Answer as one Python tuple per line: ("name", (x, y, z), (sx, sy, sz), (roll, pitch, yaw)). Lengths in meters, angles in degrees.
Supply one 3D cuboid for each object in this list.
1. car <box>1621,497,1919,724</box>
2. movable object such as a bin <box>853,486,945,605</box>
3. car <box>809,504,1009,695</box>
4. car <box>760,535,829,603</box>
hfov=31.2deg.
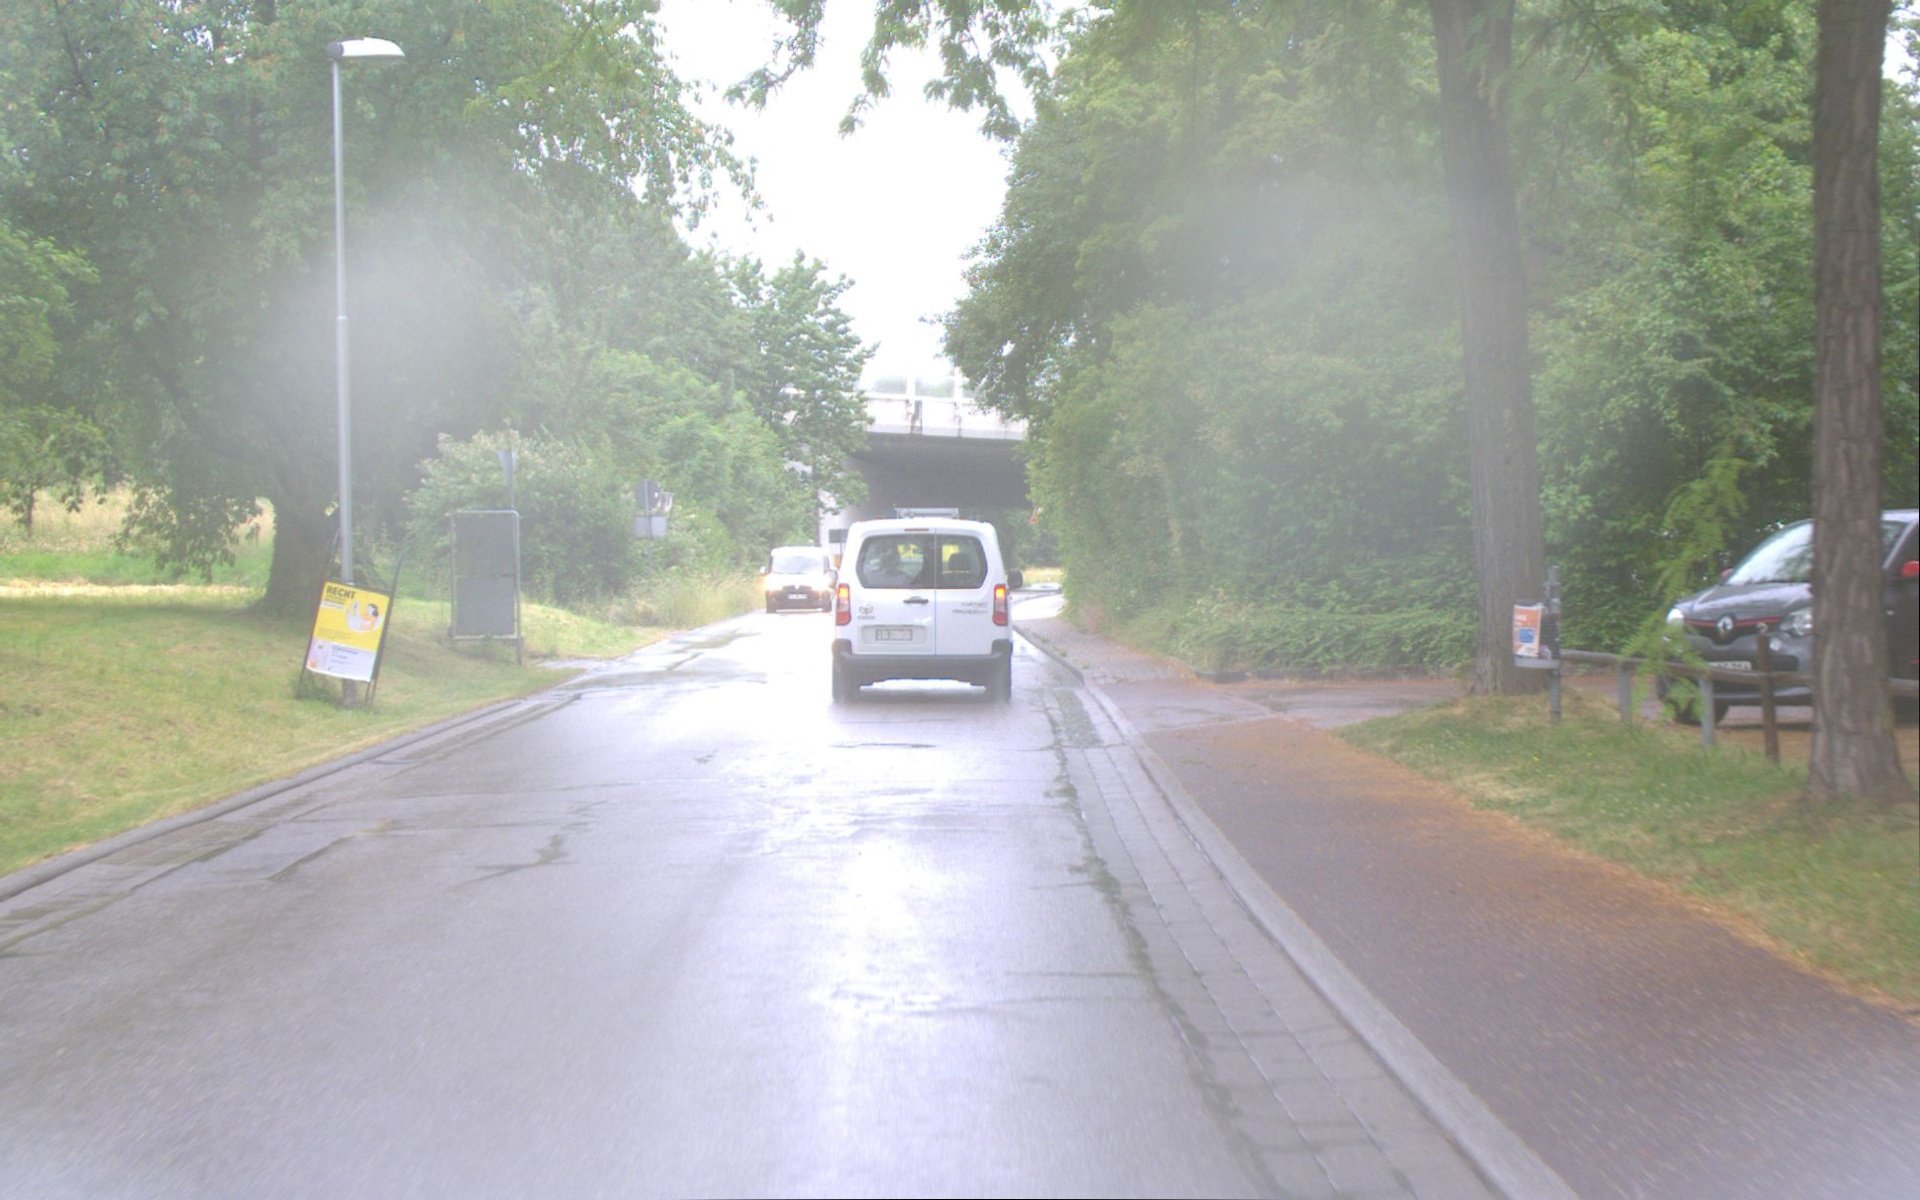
("car", (6.694, 0.046, 25.118), (3.602, 1.546, 1.621), (-1, 0, -36))
("movable object such as a bin", (-1.312, -1.191, 75.727), (1.761, 2.539, 4.239), (0, 0, 2))
("car", (-0.481, -0.048, 35.237), (1.896, 1.800, 4.000), (-1, 1, 0))
("car", (-4.511, -0.851, 94.298), (1.823, 1.825, 4.307), (0, 1, -2))
